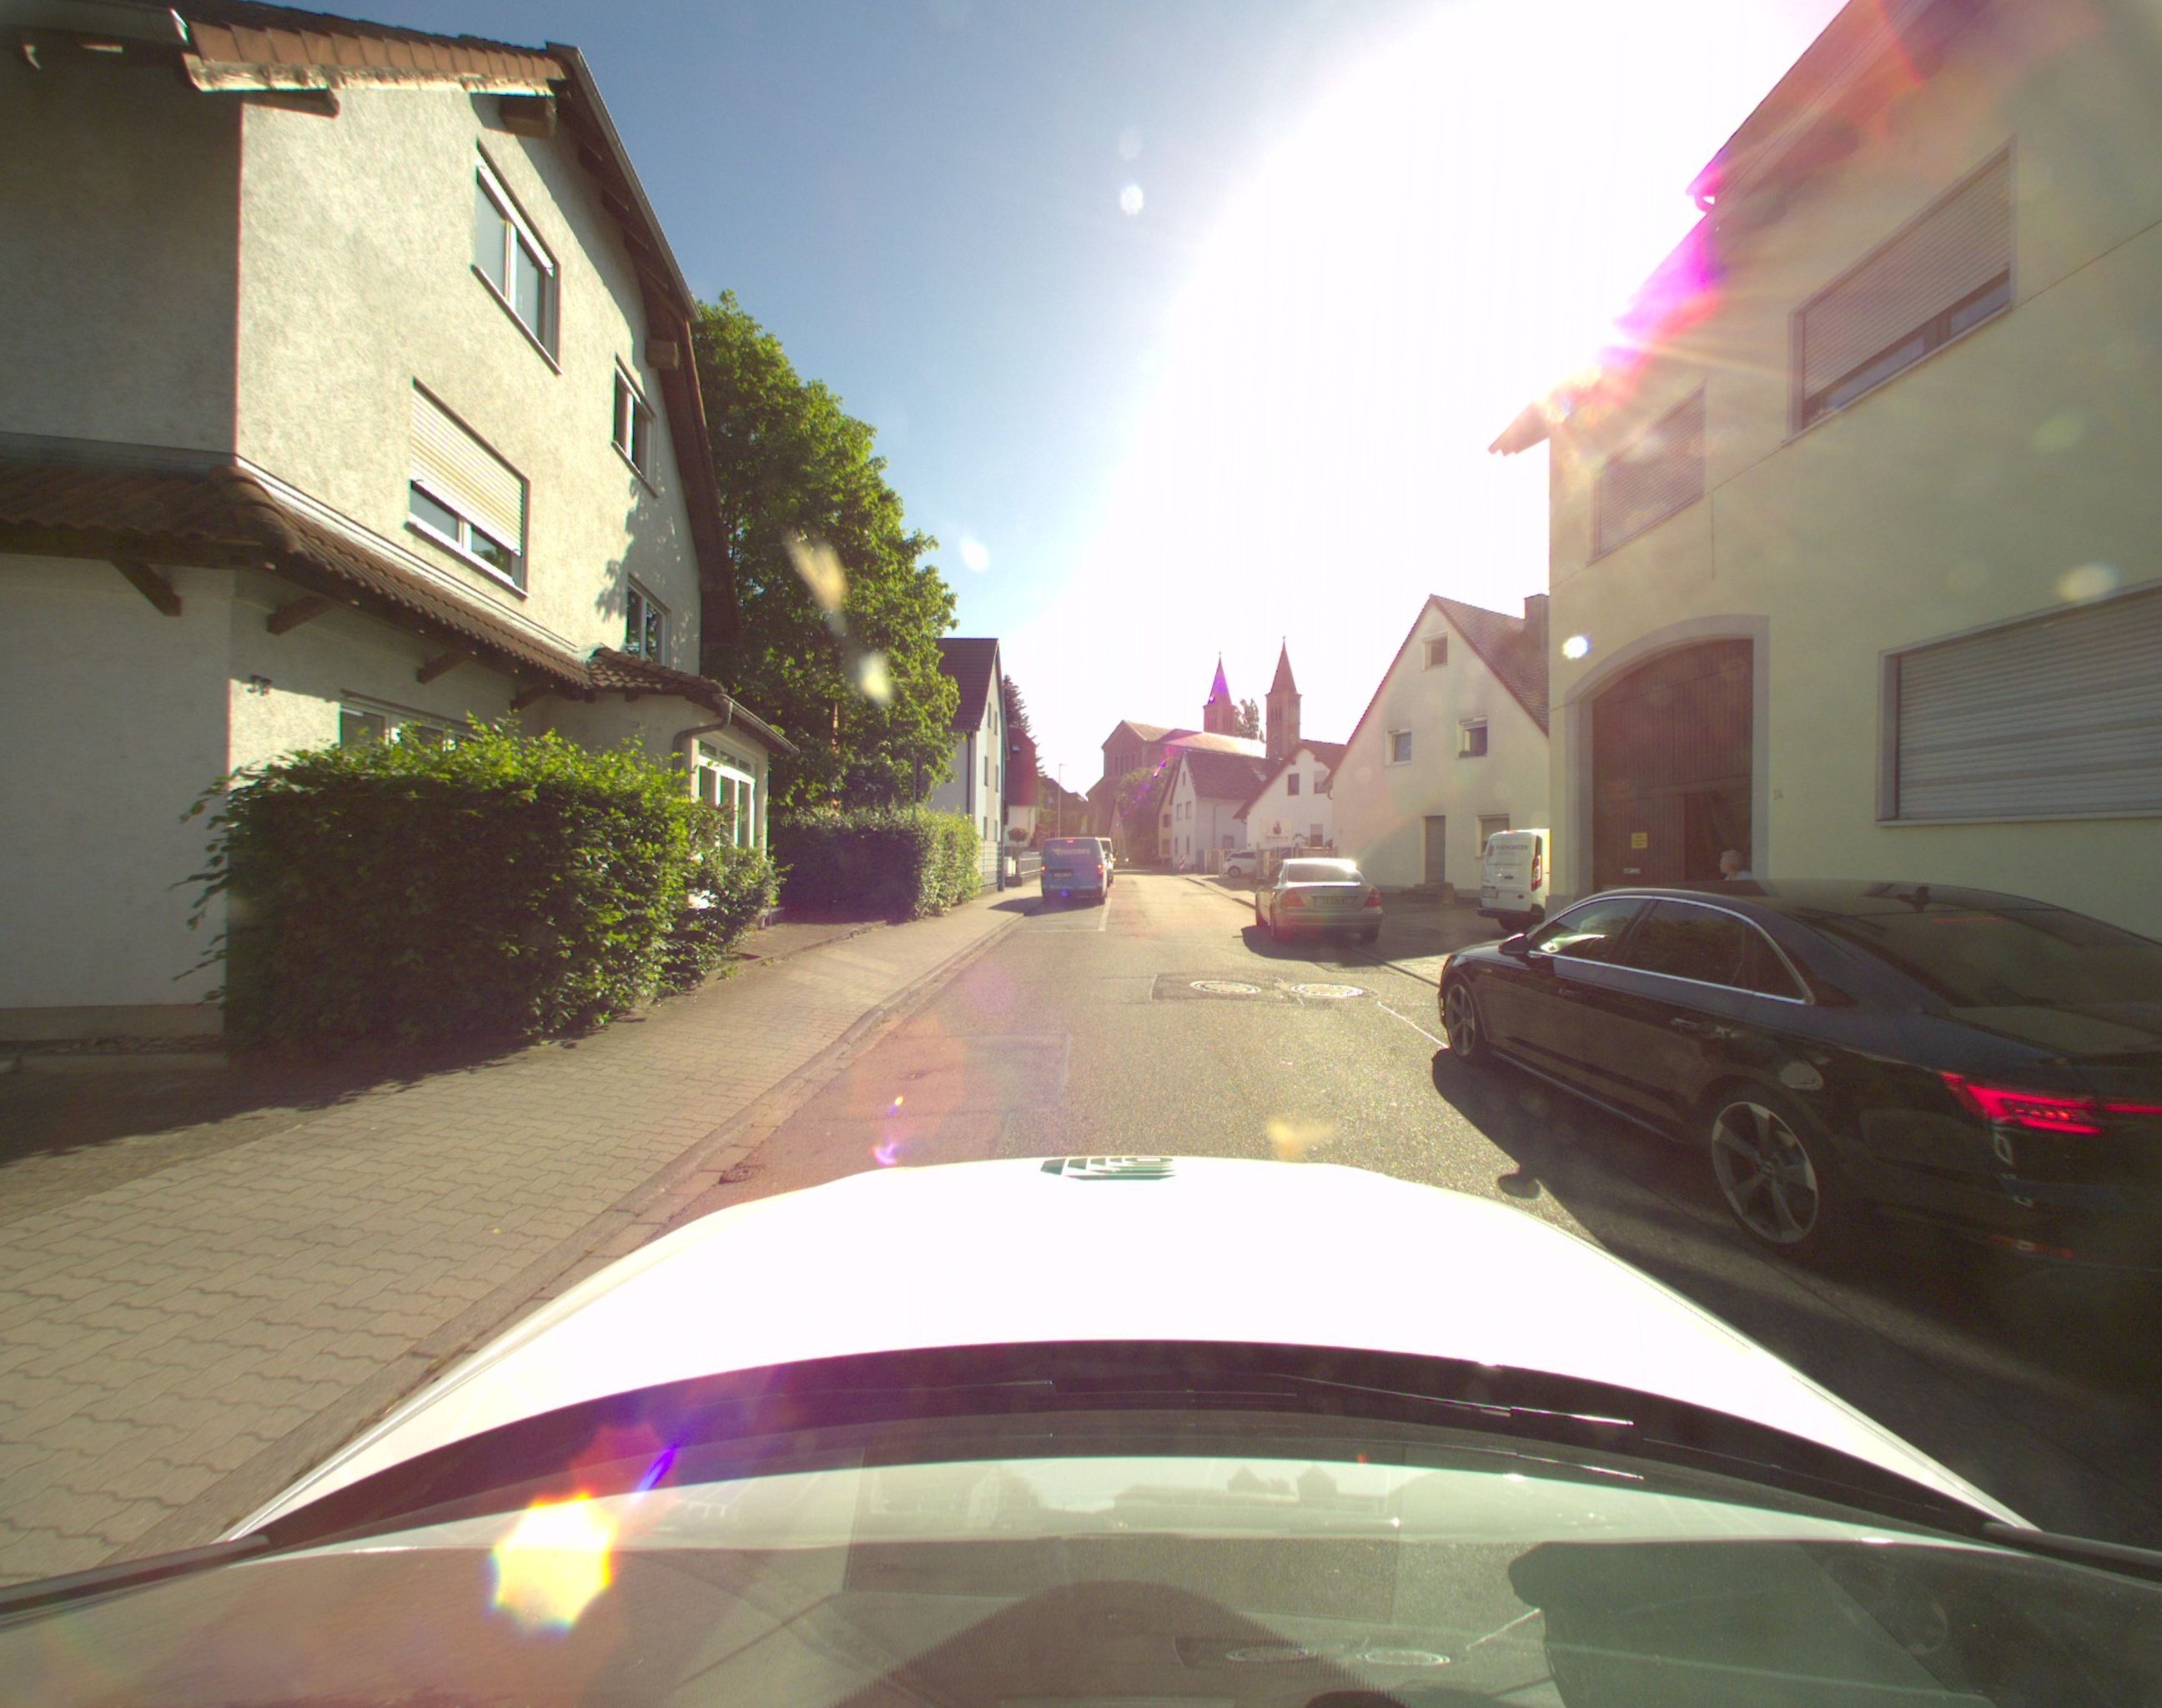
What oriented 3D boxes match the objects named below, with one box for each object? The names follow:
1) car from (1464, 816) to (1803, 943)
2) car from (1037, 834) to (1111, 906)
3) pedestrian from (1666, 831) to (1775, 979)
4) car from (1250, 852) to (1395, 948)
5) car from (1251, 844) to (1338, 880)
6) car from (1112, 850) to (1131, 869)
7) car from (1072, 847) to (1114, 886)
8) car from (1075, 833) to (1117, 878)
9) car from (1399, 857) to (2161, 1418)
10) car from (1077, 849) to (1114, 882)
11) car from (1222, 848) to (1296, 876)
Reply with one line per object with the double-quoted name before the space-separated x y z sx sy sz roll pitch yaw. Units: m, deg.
"car" 9.489 0.385 14.208 4.754 1.886 1.905 -2 1 -5
"car" -0.107 0.423 24.721 1.895 1.917 5.073 -2 0 3
"pedestrian" 7.044 0.539 9.002 0.562 1.551 0.770 1 0 -2
"car" 4.333 0.726 15.315 1.802 1.475 4.668 1 0 6
"car" 10.859 0.370 41.462 4.057 1.688 1.896 -1 1 -26
"car" 3.430 0.457 69.222 1.568 1.546 2.967 0 0 2
"car" 0.580 0.490 35.864 1.708 1.598 3.927 -1 0 2
"car" 0.933 0.054 47.253 2.188 2.390 6.068 -2 0 2
"car" 3.606 0.805 4.636 1.801 1.475 4.846 2 0 2
"car" 0.777 0.544 40.453 1.705 1.504 4.238 -1 0 2
"car" 9.728 0.445 44.735 3.887 1.492 1.853 0 0 11
